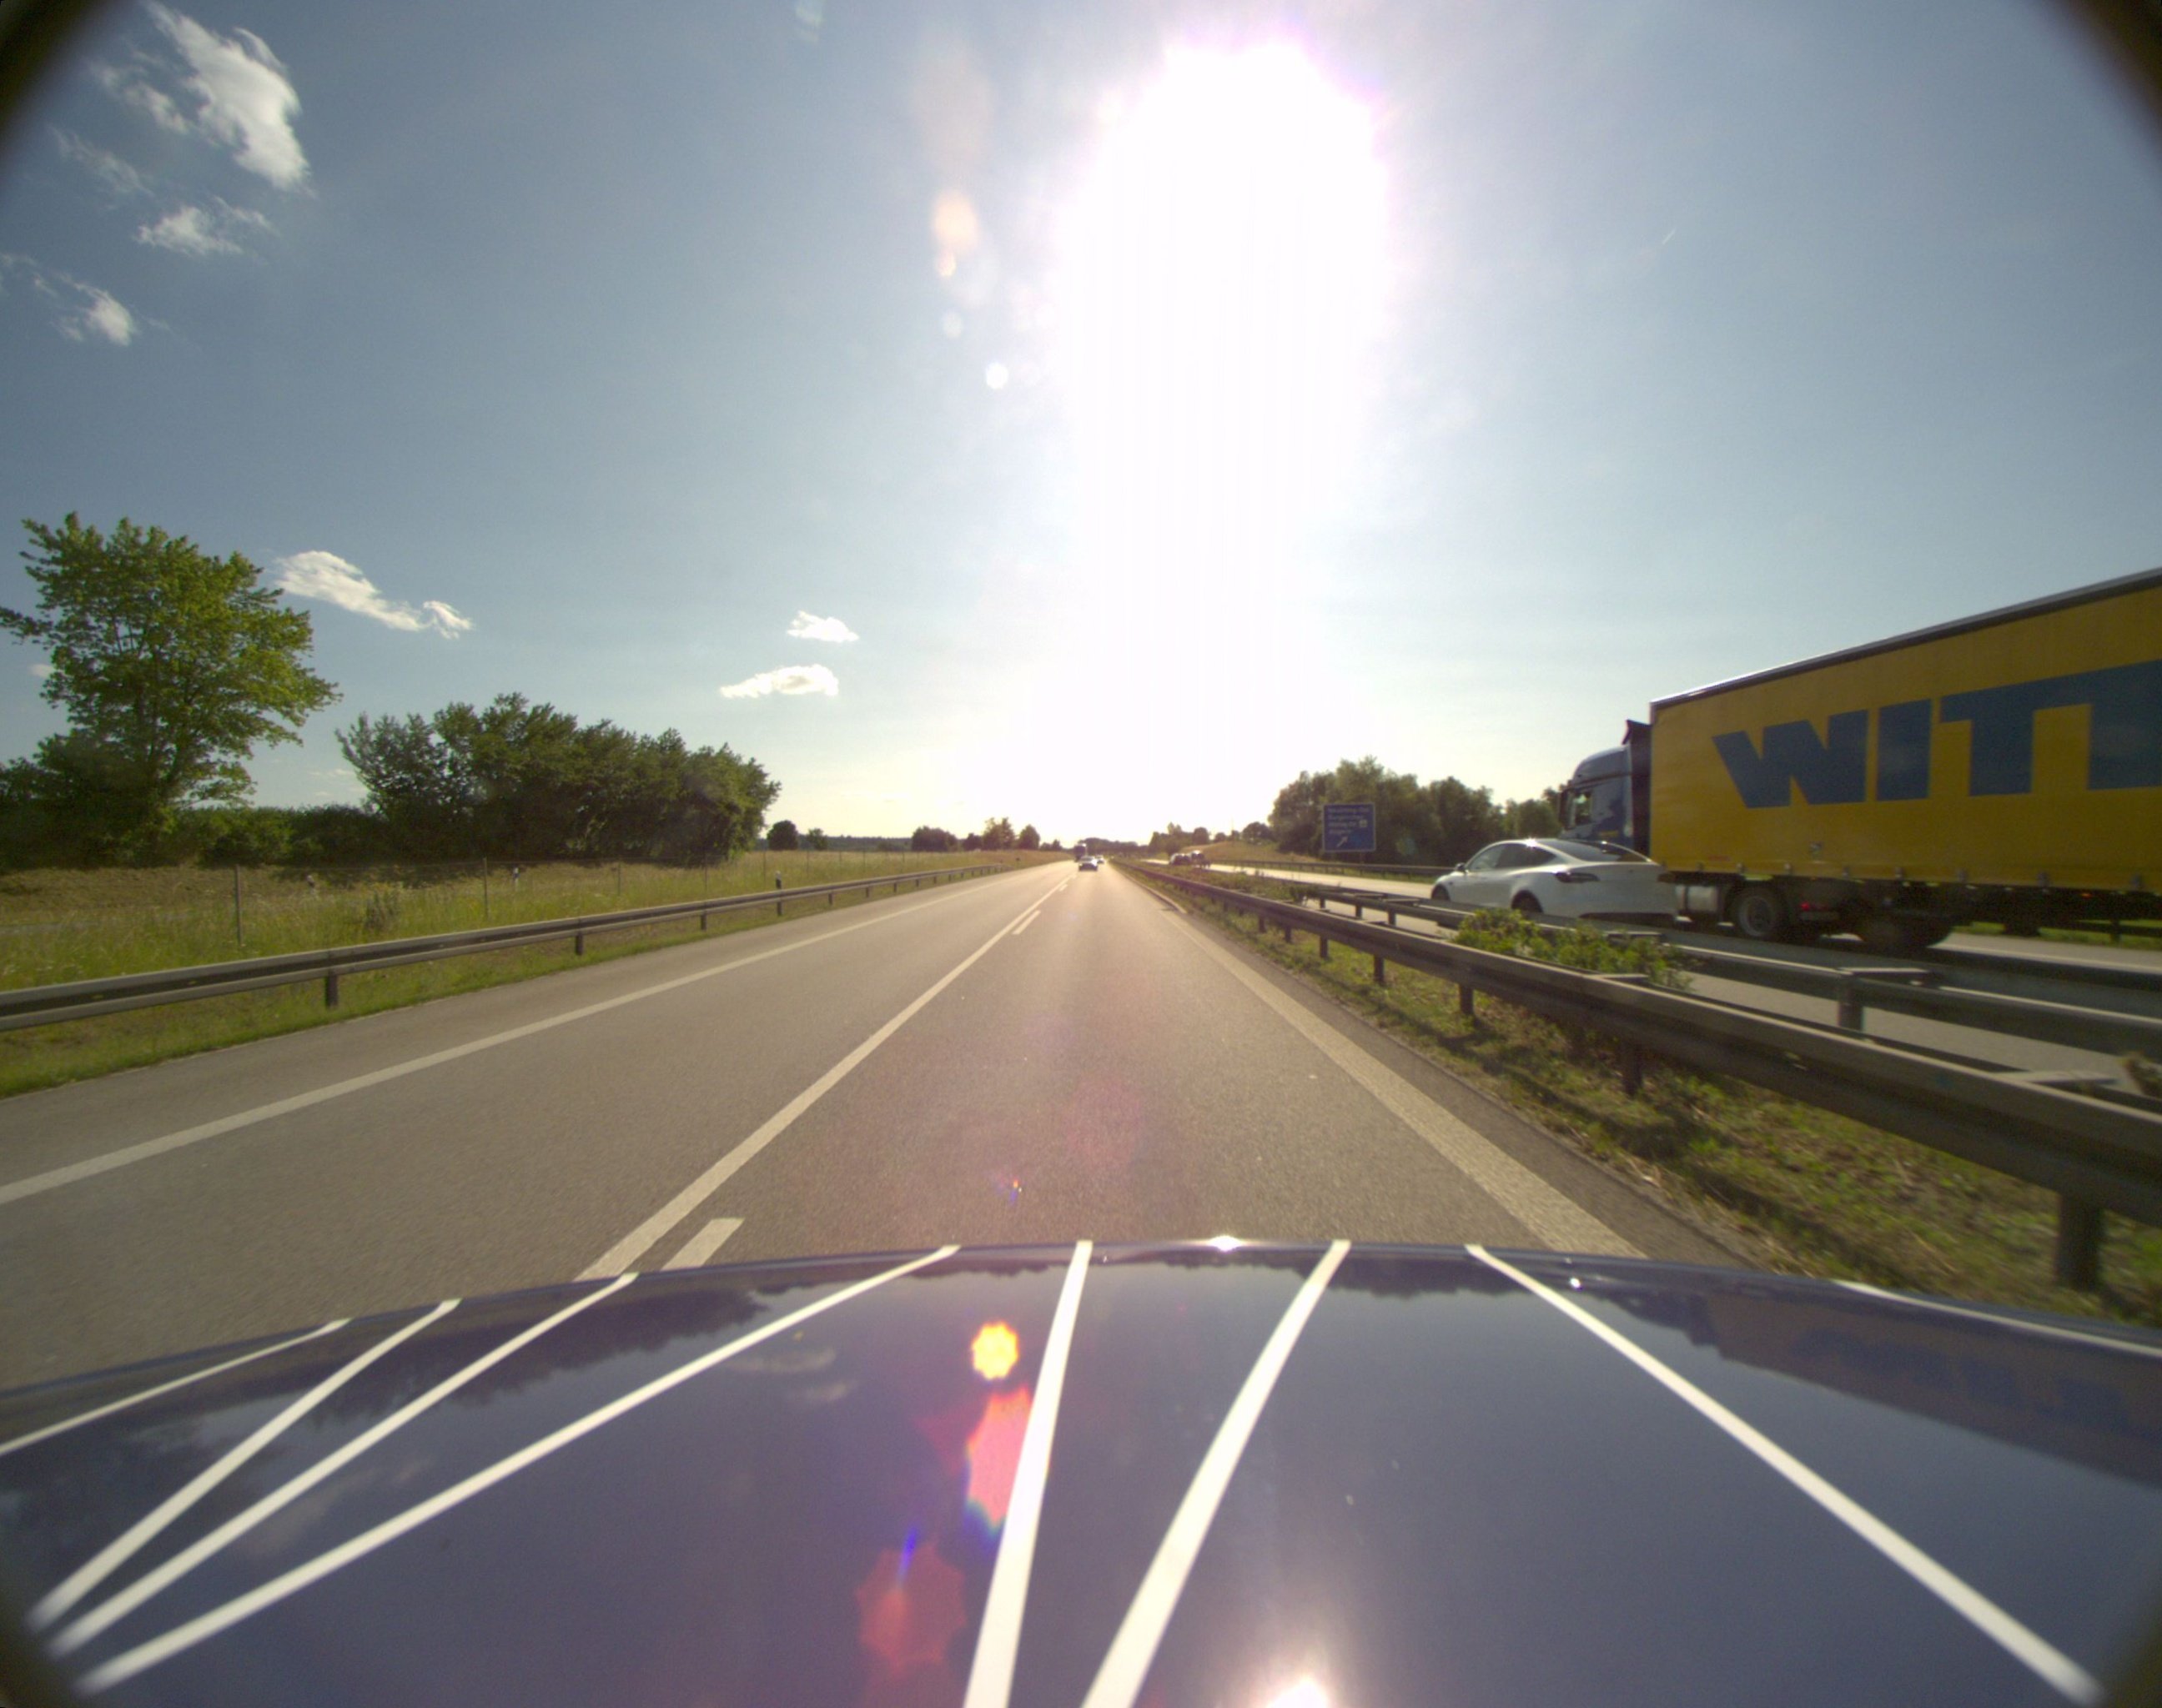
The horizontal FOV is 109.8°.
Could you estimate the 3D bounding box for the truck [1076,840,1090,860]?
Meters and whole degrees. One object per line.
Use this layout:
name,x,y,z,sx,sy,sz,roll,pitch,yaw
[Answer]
truck,0.406,-0.919,165.782,2.536,4.228,11.266,0,1,3

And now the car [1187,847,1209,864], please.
car,13.109,0.167,85.592,1.854,1.793,4.871,1,0,2

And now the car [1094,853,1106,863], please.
car,3.157,0.713,129.164,1.998,1.652,4.000,1,0,1

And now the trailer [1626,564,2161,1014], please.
trailer,11.334,-0.604,6.750,2.794,4.136,14.393,0,0,1

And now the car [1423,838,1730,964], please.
car,7.604,0.603,12.389,1.998,1.656,4.633,0,0,1

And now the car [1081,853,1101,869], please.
car,0.994,0.684,74.641,1.870,1.514,4.284,0,0,2

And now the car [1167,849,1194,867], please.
car,8.470,0.329,65.250,1.685,1.451,4.925,-1,0,0

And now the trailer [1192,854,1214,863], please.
trailer,13.009,0.508,81.146,1.746,0.931,4.020,0,0,1

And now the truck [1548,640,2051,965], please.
truck,11.424,-0.694,13.202,2.747,4.278,6.334,0,1,1
